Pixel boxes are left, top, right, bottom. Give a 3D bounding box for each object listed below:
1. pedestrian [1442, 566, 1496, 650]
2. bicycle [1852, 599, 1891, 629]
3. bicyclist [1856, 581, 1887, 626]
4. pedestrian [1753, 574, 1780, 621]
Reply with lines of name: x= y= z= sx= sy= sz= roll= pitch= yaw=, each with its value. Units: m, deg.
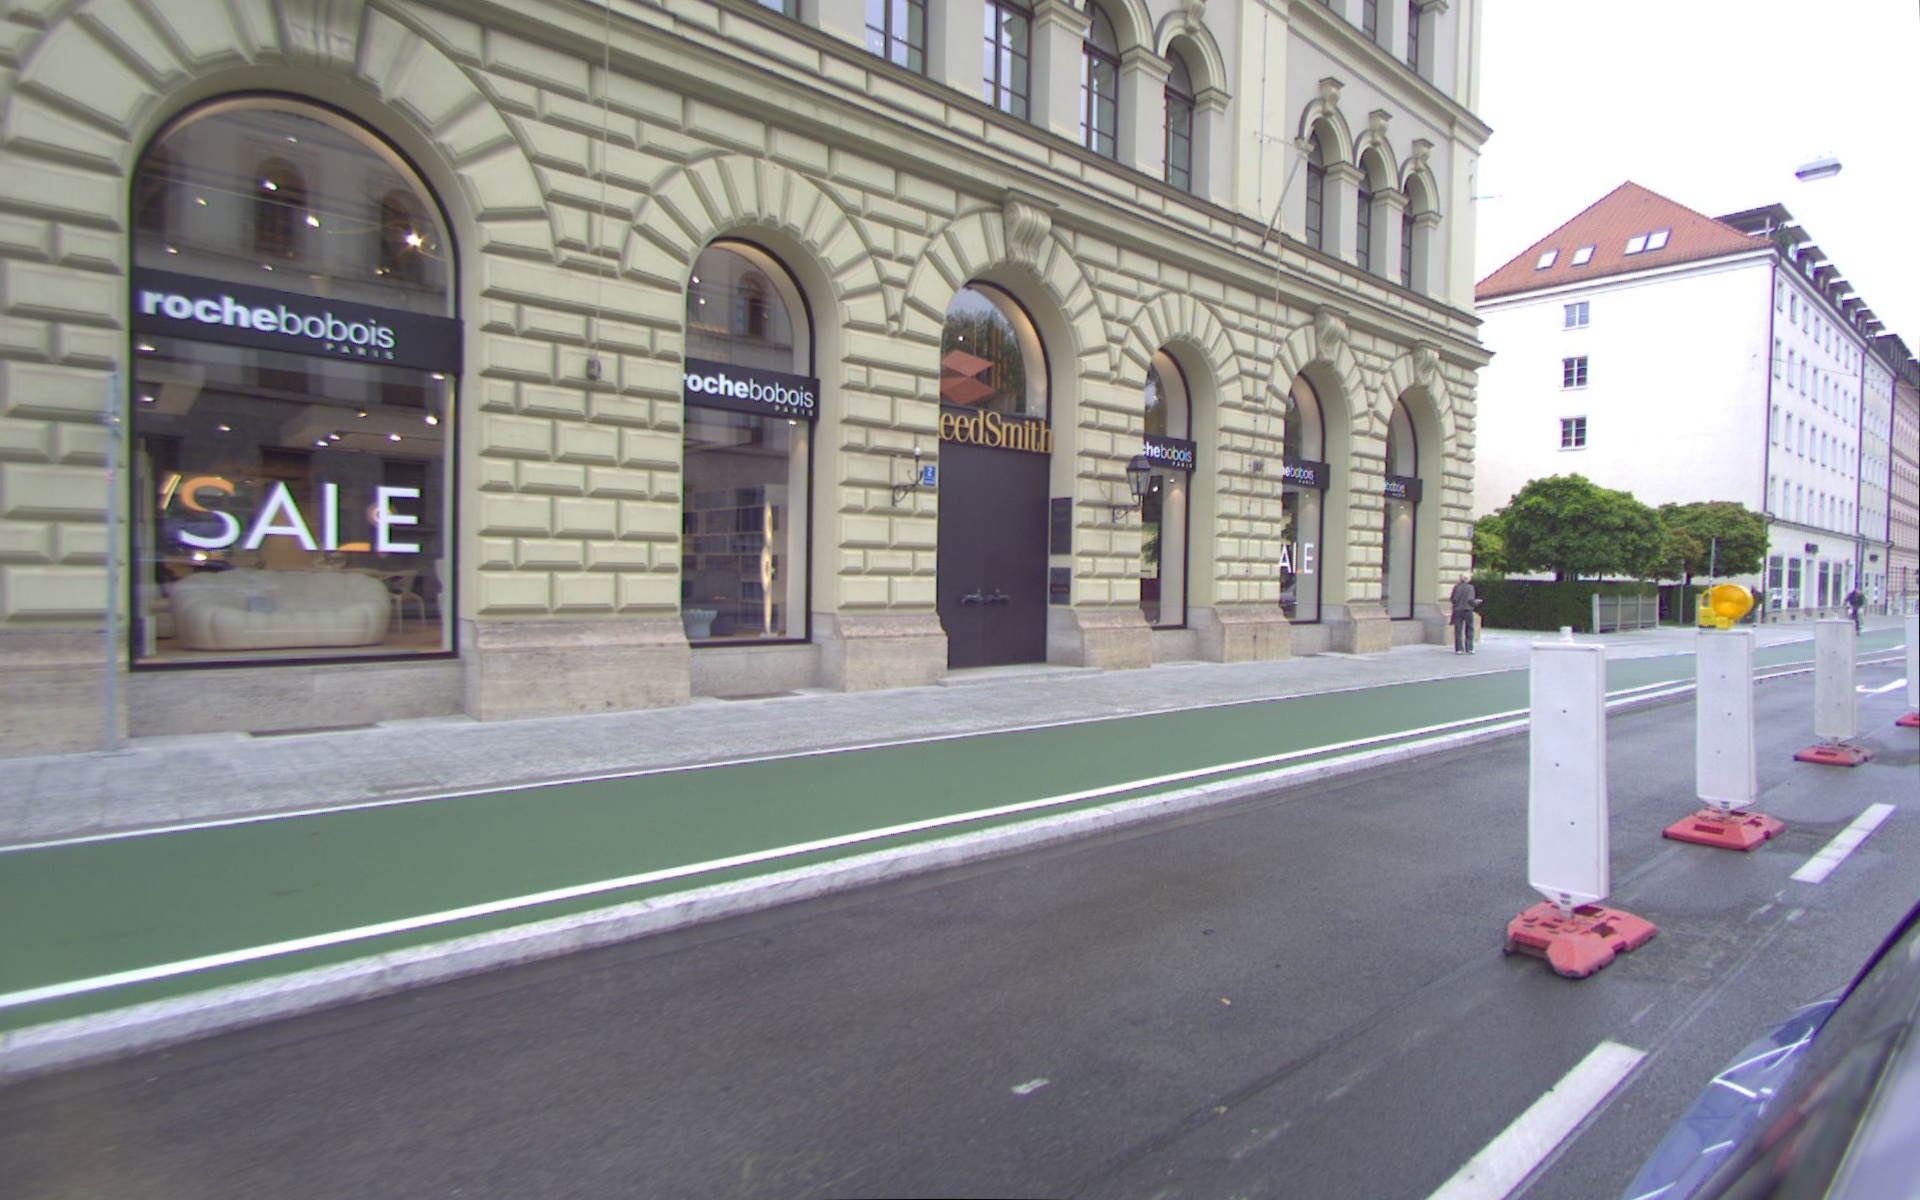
pedestrian: x=10.794 y=0.153 z=21.462 sx=1.067 sy=1.725 sz=0.633 roll=0 pitch=2 yaw=-41
bicycle: x=32.674 y=0.484 z=36.273 sx=2.487 sy=1.045 sz=0.750 roll=0 pitch=0 yaw=-41
bicyclist: x=32.582 y=0.123 z=36.190 sx=0.843 sy=1.572 sz=0.723 roll=0 pitch=0 yaw=-41
pedestrian: x=33.108 y=-0.113 z=41.533 sx=0.811 sy=1.897 sz=0.655 roll=0 pitch=3 yaw=-41
